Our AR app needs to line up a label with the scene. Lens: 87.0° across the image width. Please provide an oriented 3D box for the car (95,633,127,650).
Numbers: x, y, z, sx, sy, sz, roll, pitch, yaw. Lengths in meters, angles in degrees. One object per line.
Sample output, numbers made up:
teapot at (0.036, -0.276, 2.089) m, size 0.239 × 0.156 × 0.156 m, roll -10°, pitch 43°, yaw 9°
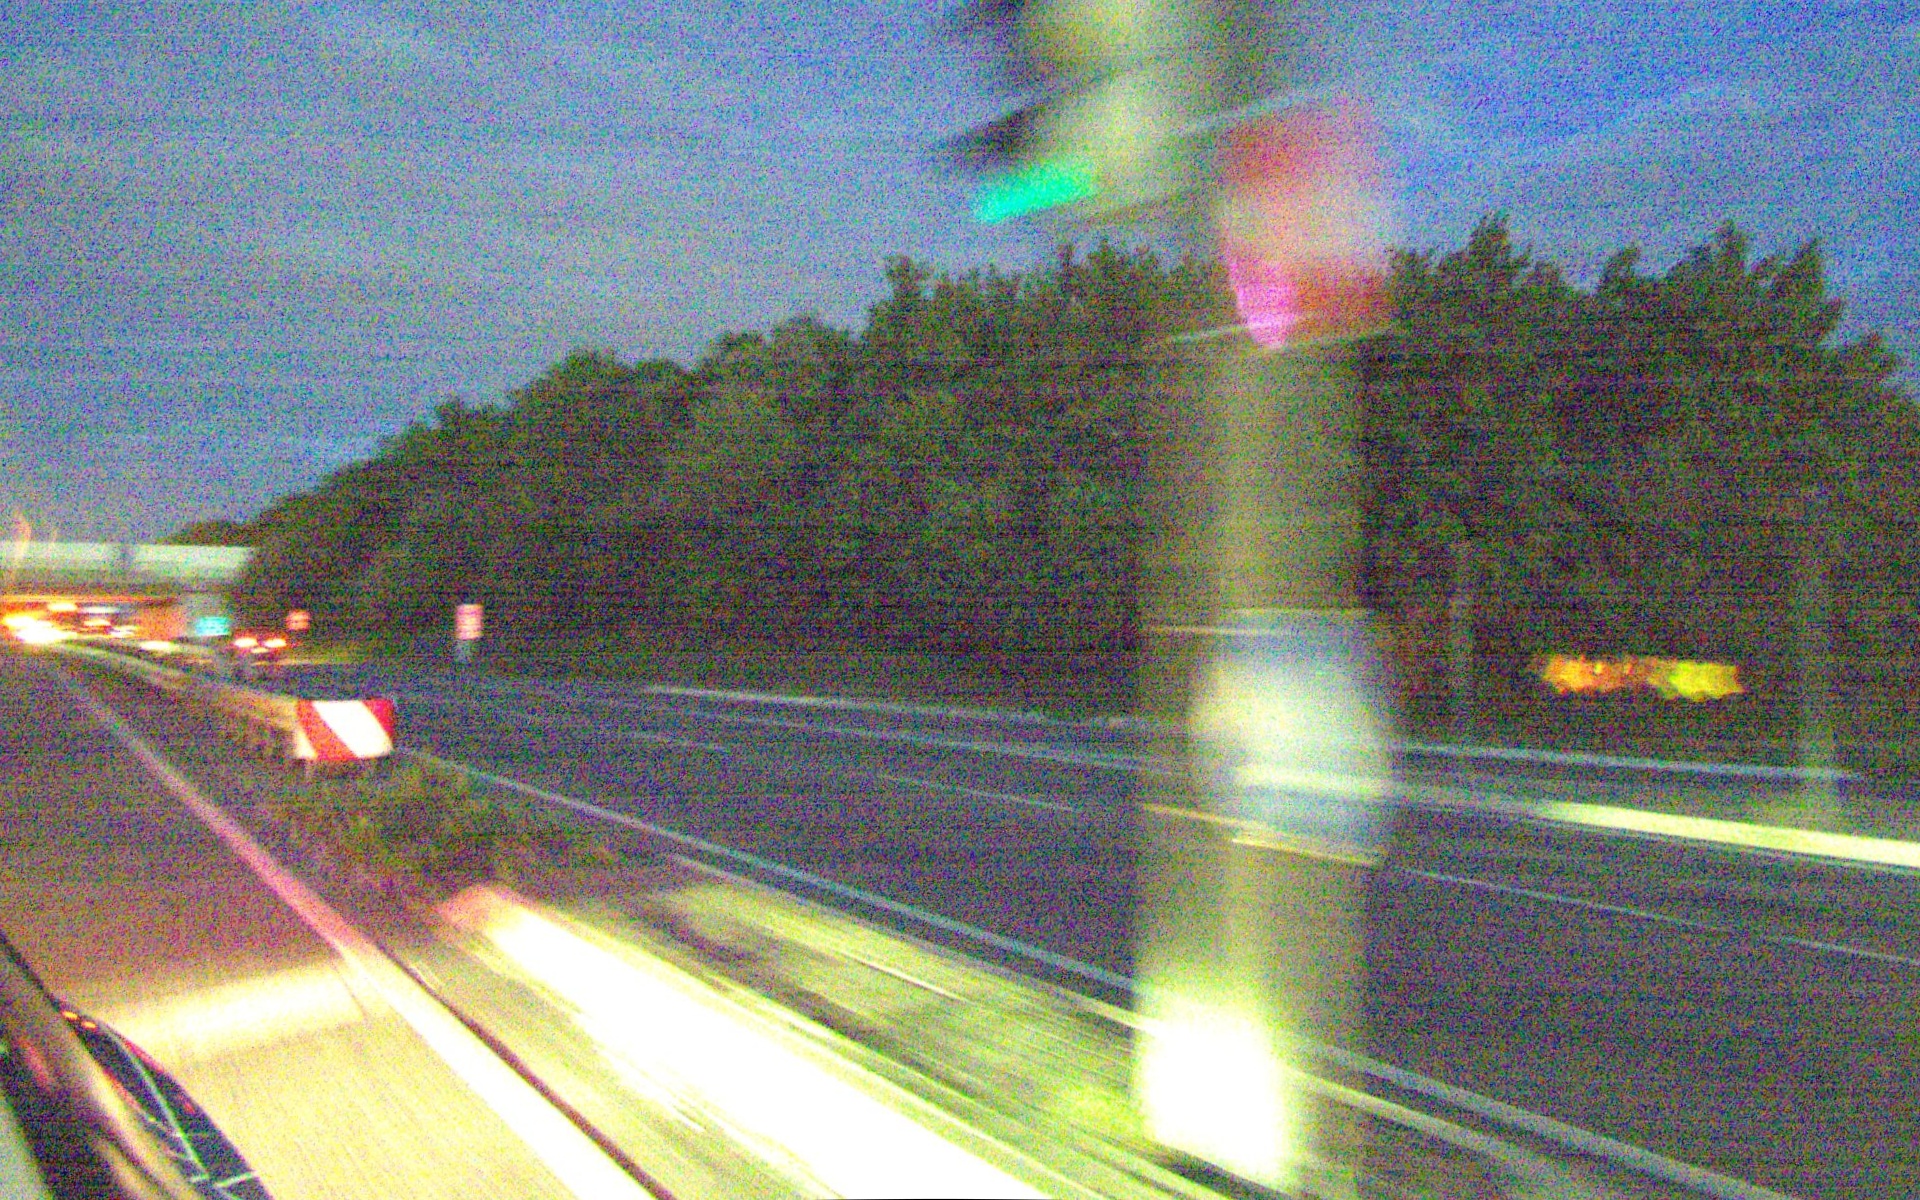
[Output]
car at (-84.872, 4.153, 101.129) m, size 2.096 × 1.643 × 4.702 m, roll 3°, pitch -4°, yaw -44°

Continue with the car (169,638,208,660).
car at (-57.892, 3.655, 75.941) m, size 1.930 × 1.498 × 4.705 m, roll 5°, pitch -5°, yaw -41°

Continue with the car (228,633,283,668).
car at (-33.532, 2.392, 48.112) m, size 1.527 × 1.531 × 3.518 m, roll 6°, pitch -5°, yaw -44°

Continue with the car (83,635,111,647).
car at (-110.004, 5.222, 129.003) m, size 4.697 × 1.565 × 2.099 m, roll -2°, pitch -4°, yaw 42°

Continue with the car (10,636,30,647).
car at (-130.631, 5.729, 140.616) m, size 1.904 × 1.530 × 4.002 m, roll 3°, pitch -4°, yaw -45°
